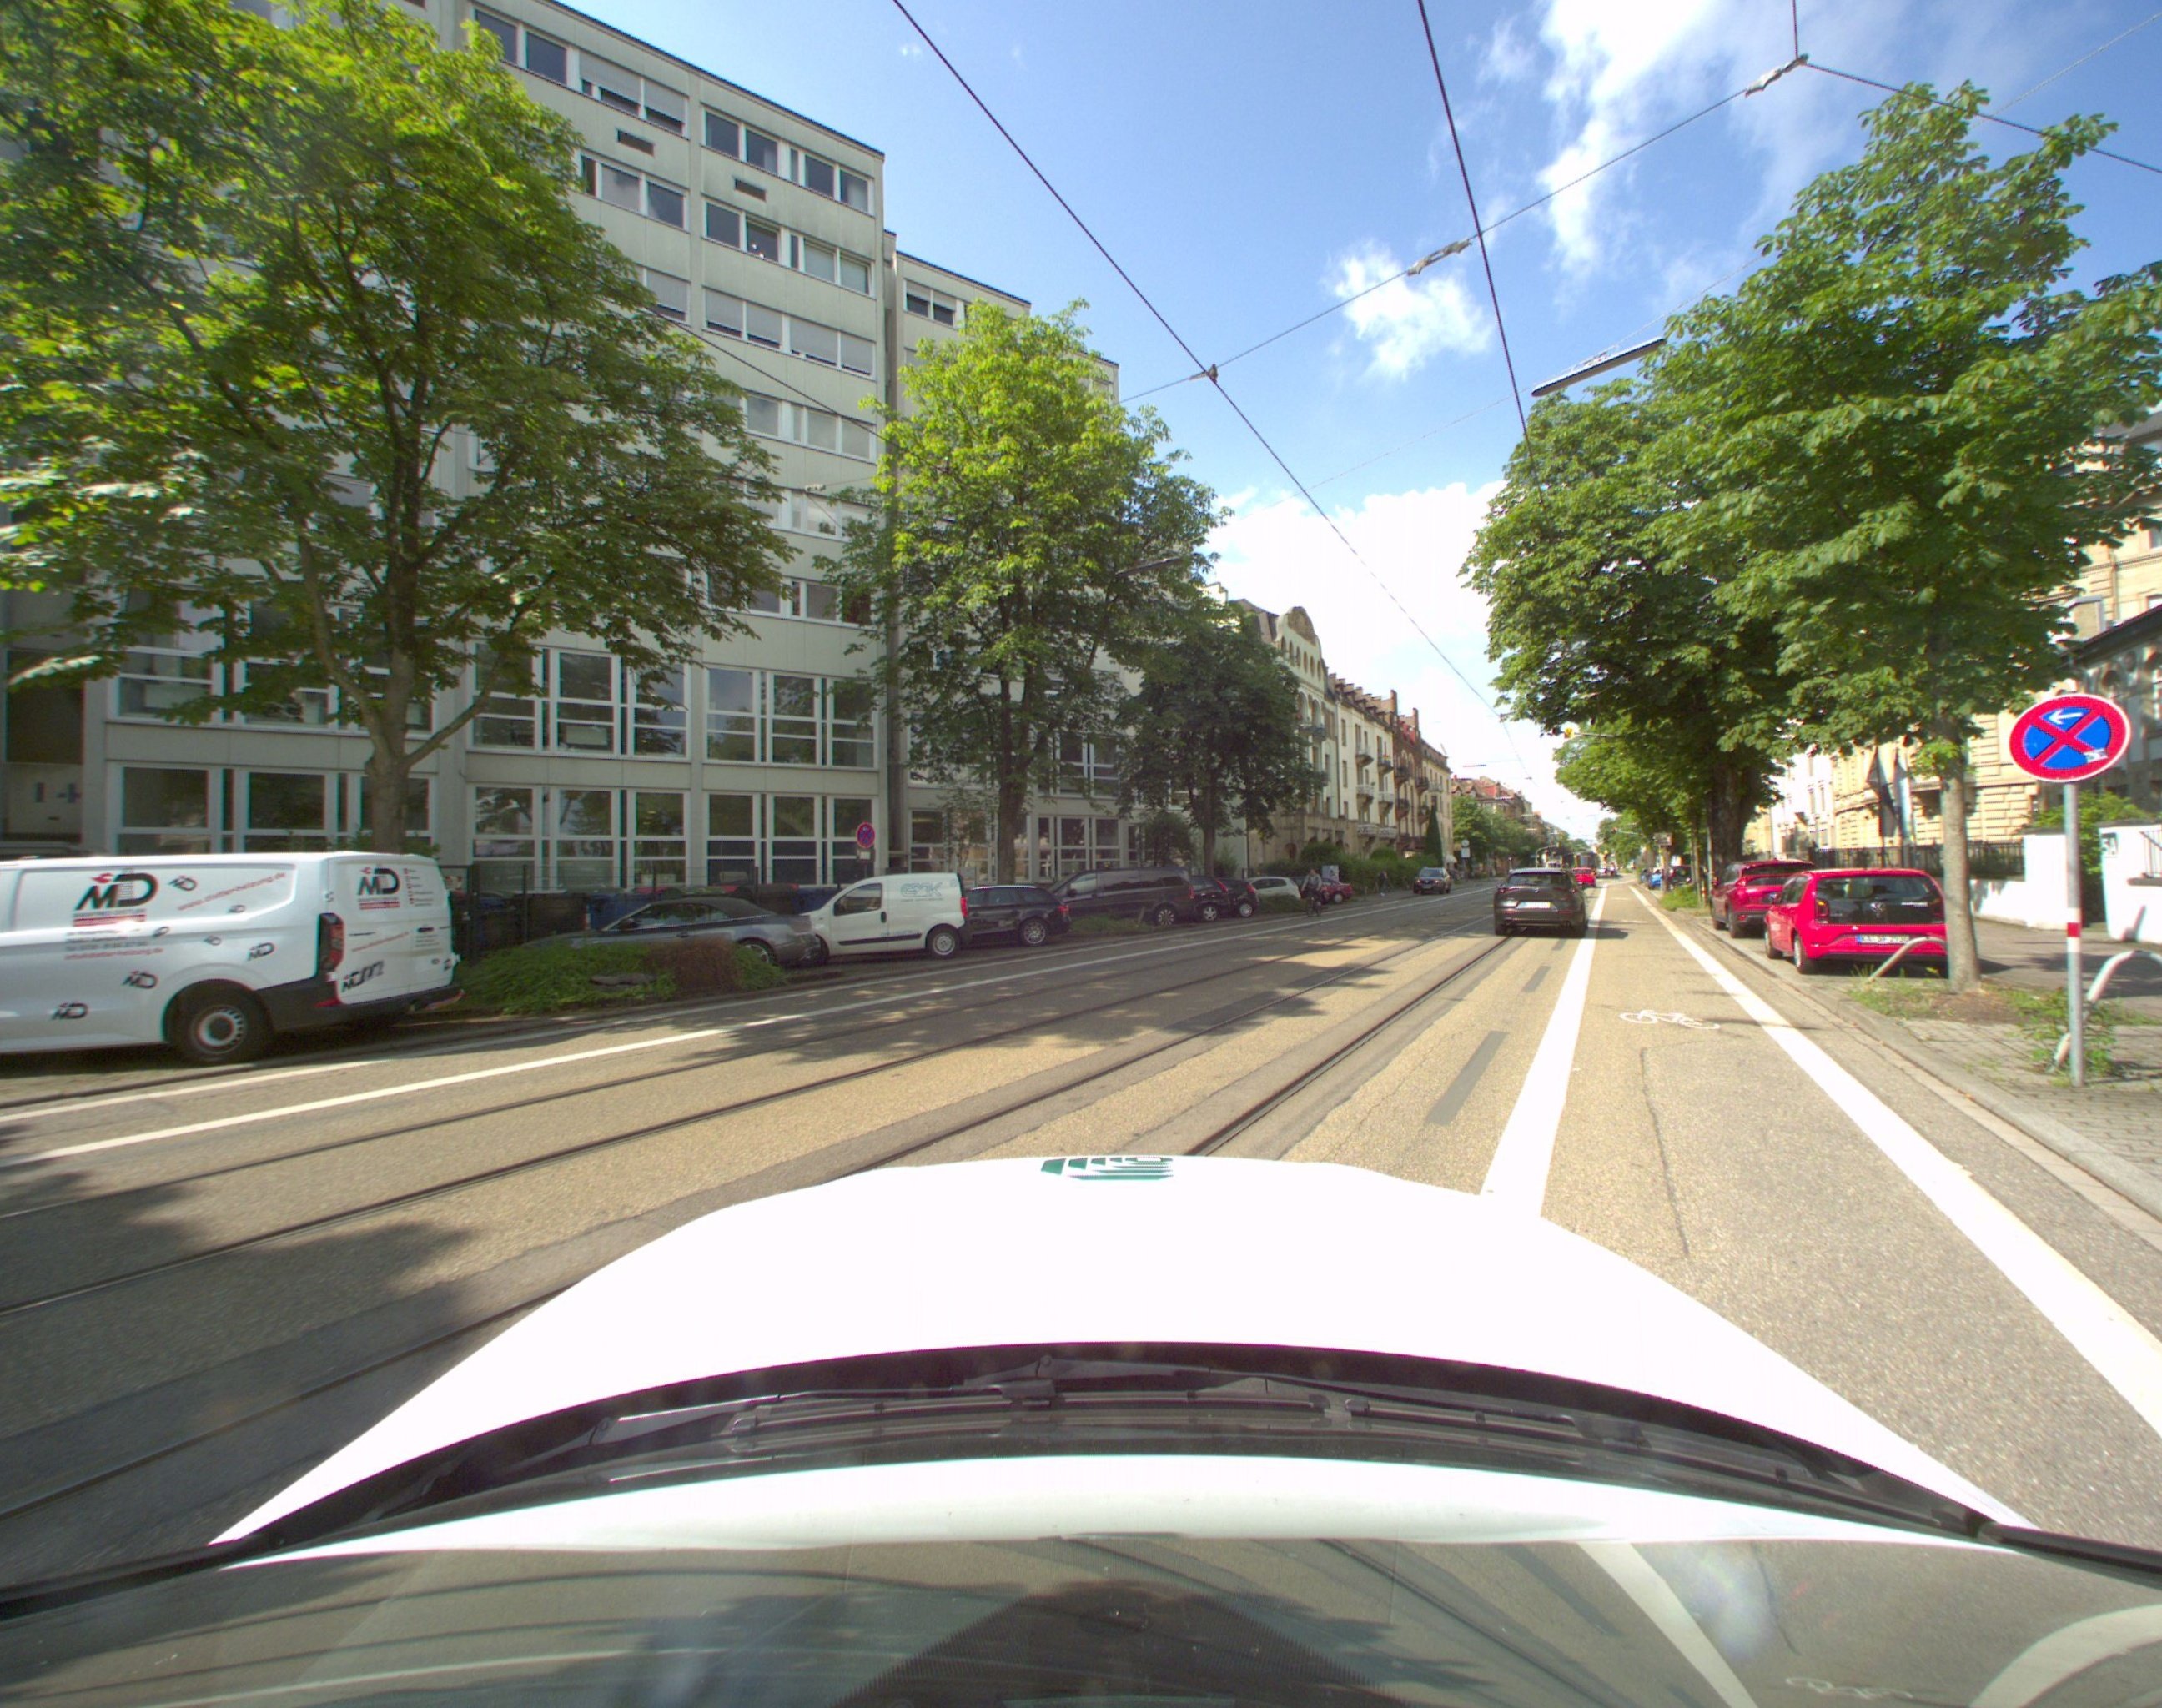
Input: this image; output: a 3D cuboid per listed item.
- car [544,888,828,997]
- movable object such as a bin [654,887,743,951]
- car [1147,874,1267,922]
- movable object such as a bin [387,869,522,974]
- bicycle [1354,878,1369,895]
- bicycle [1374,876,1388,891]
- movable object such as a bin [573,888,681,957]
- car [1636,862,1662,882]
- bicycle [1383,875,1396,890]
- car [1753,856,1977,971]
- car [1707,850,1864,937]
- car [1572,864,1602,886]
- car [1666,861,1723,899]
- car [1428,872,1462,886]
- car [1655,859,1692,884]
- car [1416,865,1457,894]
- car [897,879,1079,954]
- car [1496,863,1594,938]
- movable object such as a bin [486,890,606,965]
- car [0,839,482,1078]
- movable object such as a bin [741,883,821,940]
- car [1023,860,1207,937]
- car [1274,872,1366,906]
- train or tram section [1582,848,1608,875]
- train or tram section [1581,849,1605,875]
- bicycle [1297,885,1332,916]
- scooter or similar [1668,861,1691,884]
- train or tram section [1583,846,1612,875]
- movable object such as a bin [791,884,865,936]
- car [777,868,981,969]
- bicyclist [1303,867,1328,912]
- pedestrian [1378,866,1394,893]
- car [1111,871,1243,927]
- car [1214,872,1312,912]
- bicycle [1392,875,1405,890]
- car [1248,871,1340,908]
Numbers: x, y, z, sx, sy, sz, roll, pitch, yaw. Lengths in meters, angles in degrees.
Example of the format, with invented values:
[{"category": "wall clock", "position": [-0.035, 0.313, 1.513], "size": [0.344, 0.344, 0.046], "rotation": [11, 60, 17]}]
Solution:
[{"category": "car", "position": [-6.341, 1.398, 13.579], "size": [3.998, 1.418, 1.711], "rotation": [-2, -3, -18]}, {"category": "movable object such as a bin", "position": [-9.012, 1.508, 19.217], "size": [1.181, 1.381, 1.450], "rotation": [-6, -4, 30]}, {"category": "car", "position": [4.594, 1.598, 29.957], "size": [3.986, 1.484, 1.735], "rotation": [-3, -3, -9]}, {"category": "movable object such as a bin", "position": [-11.552, 1.219, 15.044], "size": [1.373, 1.782, 1.548], "rotation": [-6, -4, 29]}, {"category": "bicycle", "position": [16.725, 1.938, 48.533], "size": [0.379, 0.959, 1.821], "rotation": [-1, -1, 35]}, {"category": "bicycle", "position": [19.110, 1.871, 51.808], "size": [0.379, 0.959, 1.821], "rotation": [-1, -1, 35]}, {"category": "movable object such as a bin", "position": [-9.928, 1.484, 17.842], "size": [1.373, 1.364, 1.548], "rotation": [-6, -4, 29]}, {"category": "car", "position": [47.953, 1.514, 68.821], "size": [1.608, 1.496, 3.872], "rotation": [-5, -3, 33]}, {"category": "bicycle", "position": [20.290, 1.868, 53.552], "size": [0.379, 0.959, 1.821], "rotation": [-1, -1, 35]}, {"category": "car", "position": [11.503, 0.835, 12.239], "size": [1.584, 1.429, 3.618], "rotation": [-6, -4, 32]}, {"category": "car", "position": [15.511, 0.848, 18.192], "size": [1.857, 1.676, 4.309], "rotation": [-4, -3, 31]}, {"category": "car", "position": [37.237, 1.509, 59.980], "size": [1.767, 1.492, 4.913], "rotation": [-3, -2, 31]}, {"category": "car", "position": [28.398, 1.204, 37.789], "size": [1.680, 1.591, 4.229], "rotation": [-4, -3, 32]}, {"category": "car", "position": [40.525, 2.817, 90.705], "size": [3.205, 1.513, 1.689], "rotation": [-1, -1, 37]}, {"category": "car", "position": [38.848, 1.162, 53.469], "size": [1.623, 1.496, 3.649], "rotation": [-4, -3, 32]}, {"category": "car", "position": [23.248, 1.605, 53.163], "size": [1.767, 1.763, 4.913], "rotation": [-3, -2, 31]}, {"category": "car", "position": [-2.209, 1.430, 19.025], "size": [3.991, 1.418, 1.752], "rotation": [-3, -3, -13]}, {"category": "car", "position": [10.964, 0.999, 19.107], "size": [1.772, 1.512, 4.378], "rotation": [-1, -1, 32]}, {"category": "movable object such as a bin", "position": [-10.756, 1.460, 16.403], "size": [1.373, 1.364, 1.548], "rotation": [-6, -4, 29]}, {"category": "car", "position": [-9.078, 0.946, 8.055], "size": [4.668, 1.997, 1.963], "rotation": [-1, -2, -8]}, {"category": "movable object such as a bin", "position": [-7.640, 1.464, 20.772], "size": [1.152, 1.327, 1.451], "rotation": [-6, -4, 32]}, {"category": "car", "position": [0.967, 1.323, 24.568], "size": [5.157, 1.954, 1.908], "rotation": [-3, -3, -13]}, {"category": "car", "position": [11.993, 1.765, 40.991], "size": [3.957, 1.484, 1.840], "rotation": [-3, -3, -10]}, {"category": "train or tram section", "position": [70.595, 1.058, 111.918], "size": [2.626, 3.528, 8.548], "rotation": [-3, -3, 30]}, {"category": "train or tram section", "position": [74.926, 1.217, 119.291], "size": [2.626, 3.528, 8.548], "rotation": [-3, -3, 30]}, {"category": "bicycle", "position": [8.483, 1.680, 29.538], "size": [0.649, 1.041, 2.013], "rotation": [-3, -3, 33]}, {"category": "scooter or similar", "position": [35.009, 1.061, 47.649], "size": [0.439, 1.299, 1.183], "rotation": [-5, -2, 3]}, {"category": "train or tram section", "position": [66.248, 0.901, 104.564], "size": [2.626, 3.528, 8.548], "rotation": [-3, -3, 30]}, {"category": "movable object such as a bin", "position": [-6.839, 1.508, 22.017], "size": [1.156, 1.283, 1.451], "rotation": [-6, -4, 32]}, {"category": "car", "position": [-3.947, 1.260, 16.355], "size": [3.704, 1.693, 1.754], "rotation": [-3, -3, -10]}, {"category": "bicyclist", "position": [8.541, 1.290, 29.620], "size": [0.635, 1.577, 0.746], "rotation": [-3, -3, 32]}, {"category": "pedestrian", "position": [18.268, 1.529, 48.785], "size": [0.673, 1.568, 0.887], "rotation": [0, -1, 36]}, {"category": "car", "position": [3.177, 1.490, 27.300], "size": [3.989, 1.593, 1.734], "rotation": [-3, -3, -11]}, {"category": "car", "position": [8.000, 1.684, 35.859], "size": [3.798, 1.484, 1.690], "rotation": [-3, -3, -12]}, {"category": "bicycle", "position": [21.545, 1.944, 55.300], "size": [0.379, 0.959, 1.933], "rotation": [-1, -1, 35]}, {"category": "car", "position": [10.021, 1.699, 38.518], "size": [3.790, 1.484, 1.694], "rotation": [-3, -3, -6]}]
